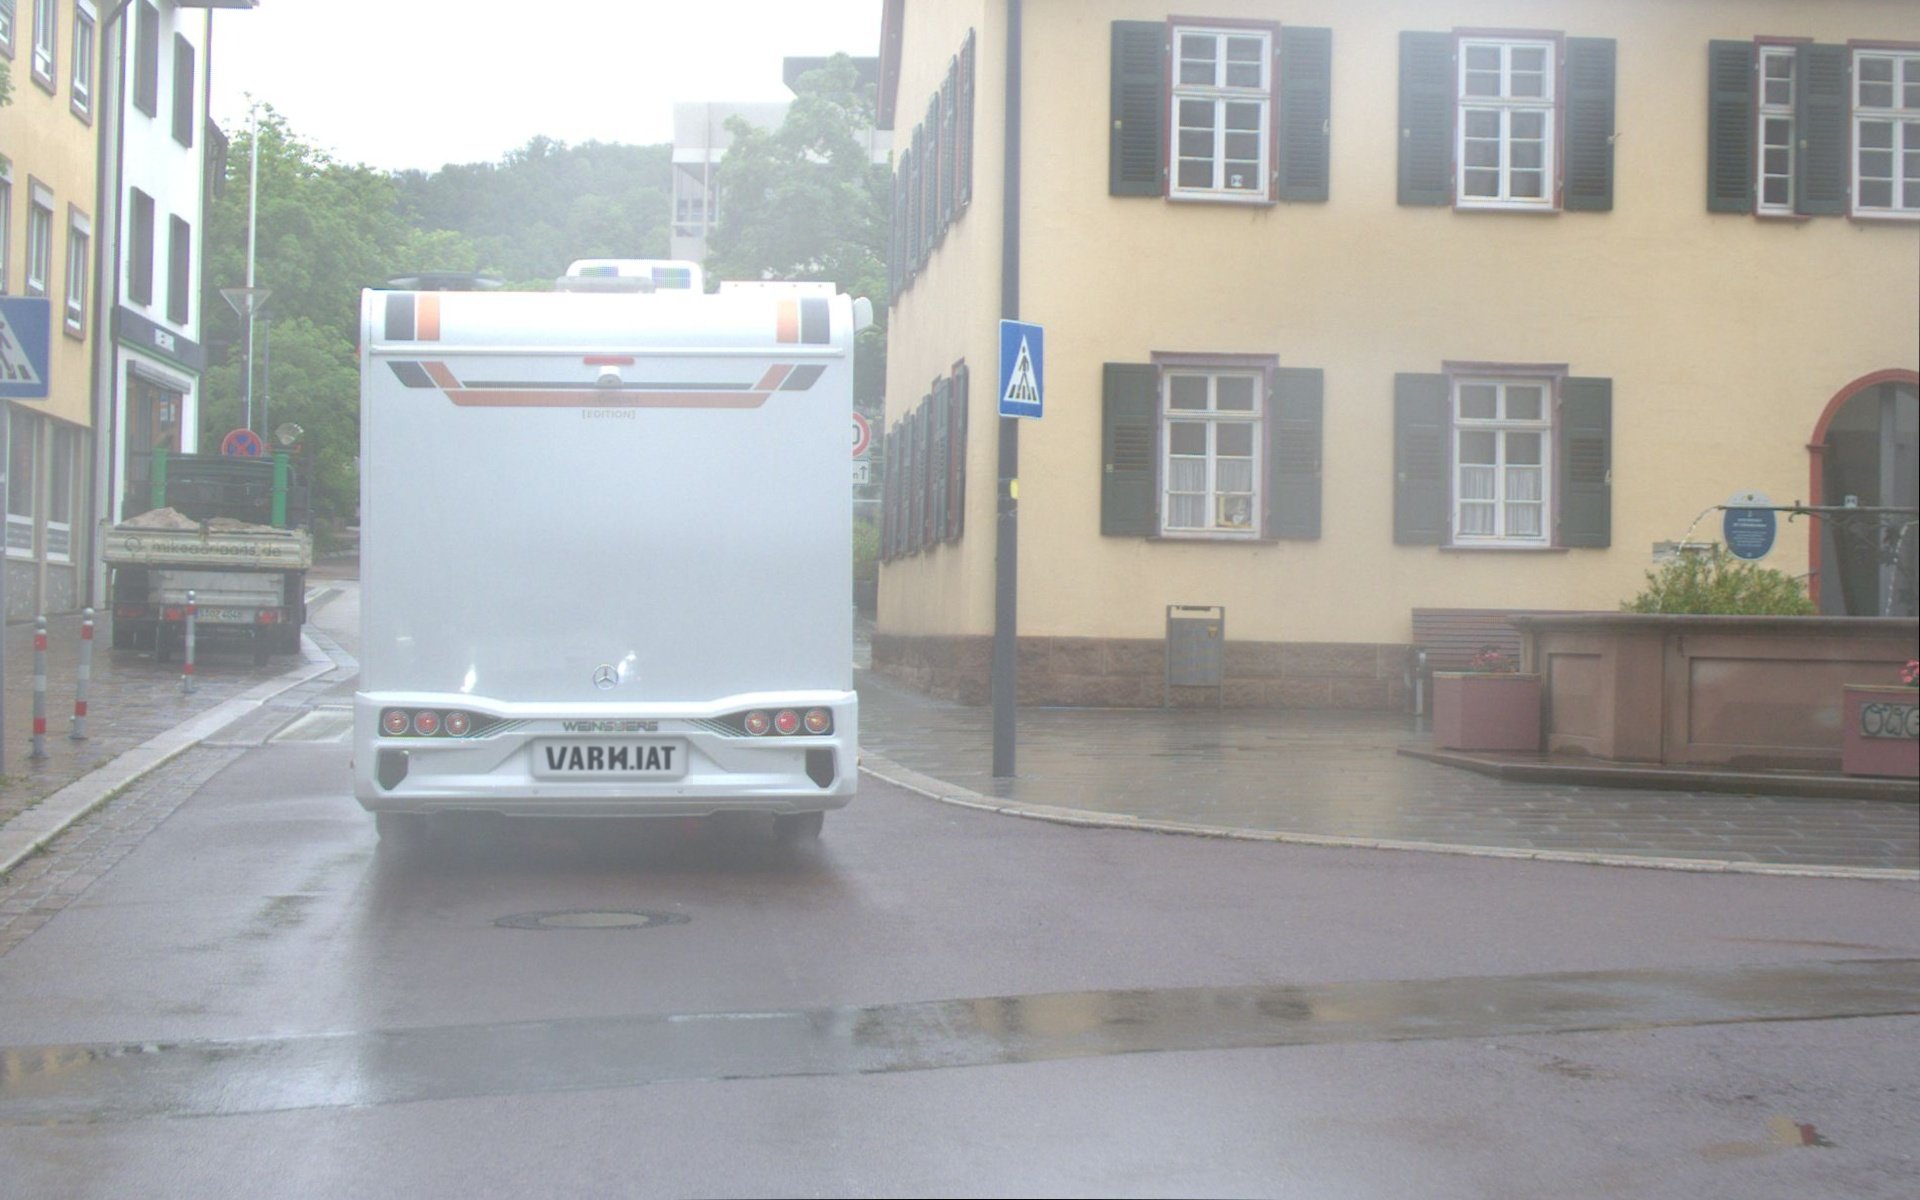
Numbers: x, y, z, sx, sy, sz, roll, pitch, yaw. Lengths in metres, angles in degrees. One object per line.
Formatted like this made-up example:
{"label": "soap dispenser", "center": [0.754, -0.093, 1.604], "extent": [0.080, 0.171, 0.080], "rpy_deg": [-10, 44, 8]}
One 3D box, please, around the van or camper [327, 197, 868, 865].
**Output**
{"label": "van or camper", "center": [-1.904, -0.266, 18.353], "extent": [2.325, 2.909, 6.394], "rpy_deg": [1, -1, -6]}

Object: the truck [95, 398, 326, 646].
{"label": "truck", "center": [-8.942, -0.845, 41.468], "extent": [2.279, 2.748, 5.570], "rpy_deg": [1, -1, -8]}
